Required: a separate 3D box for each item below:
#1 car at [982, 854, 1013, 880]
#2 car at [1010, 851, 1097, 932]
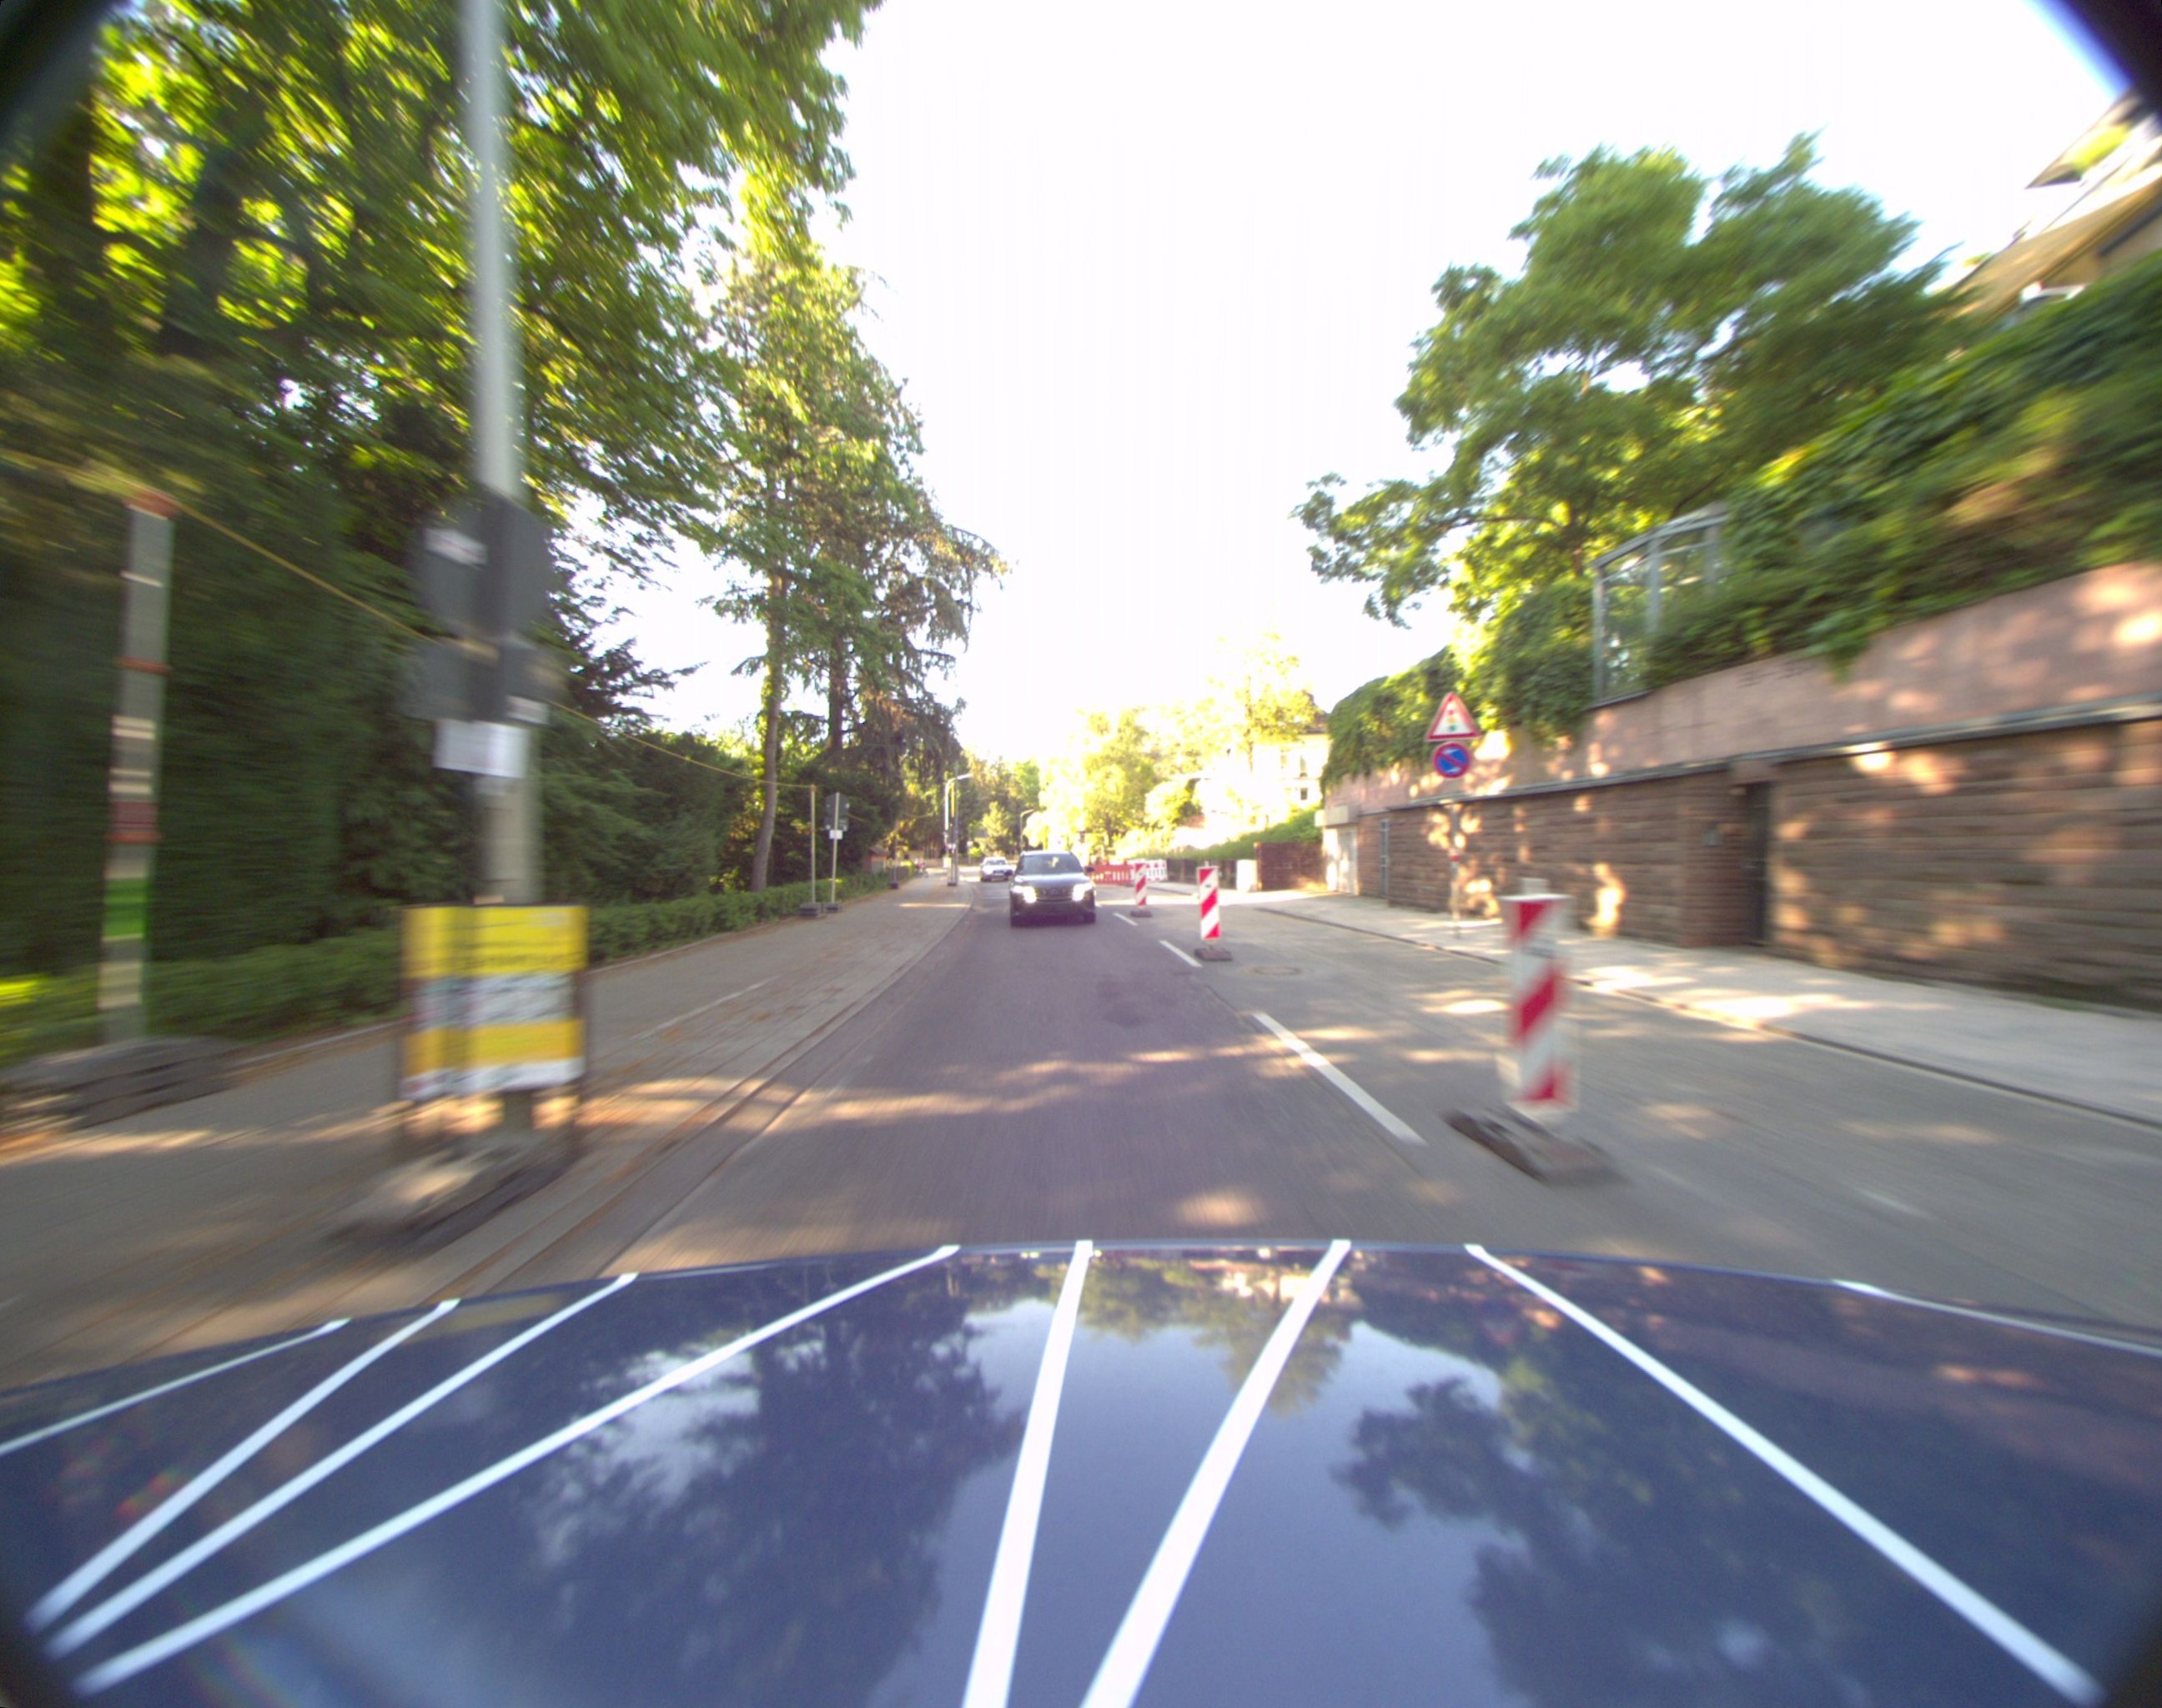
[{"bbox_3d":[-5.162,0.764,46.563,1.663,1.468,3.679,-2,1,-10],"label":"car"},{"bbox_3d":[-0.723,0.782,18.035,1.789,1.639,4.472,-1,0,-4],"label":"car"}]
